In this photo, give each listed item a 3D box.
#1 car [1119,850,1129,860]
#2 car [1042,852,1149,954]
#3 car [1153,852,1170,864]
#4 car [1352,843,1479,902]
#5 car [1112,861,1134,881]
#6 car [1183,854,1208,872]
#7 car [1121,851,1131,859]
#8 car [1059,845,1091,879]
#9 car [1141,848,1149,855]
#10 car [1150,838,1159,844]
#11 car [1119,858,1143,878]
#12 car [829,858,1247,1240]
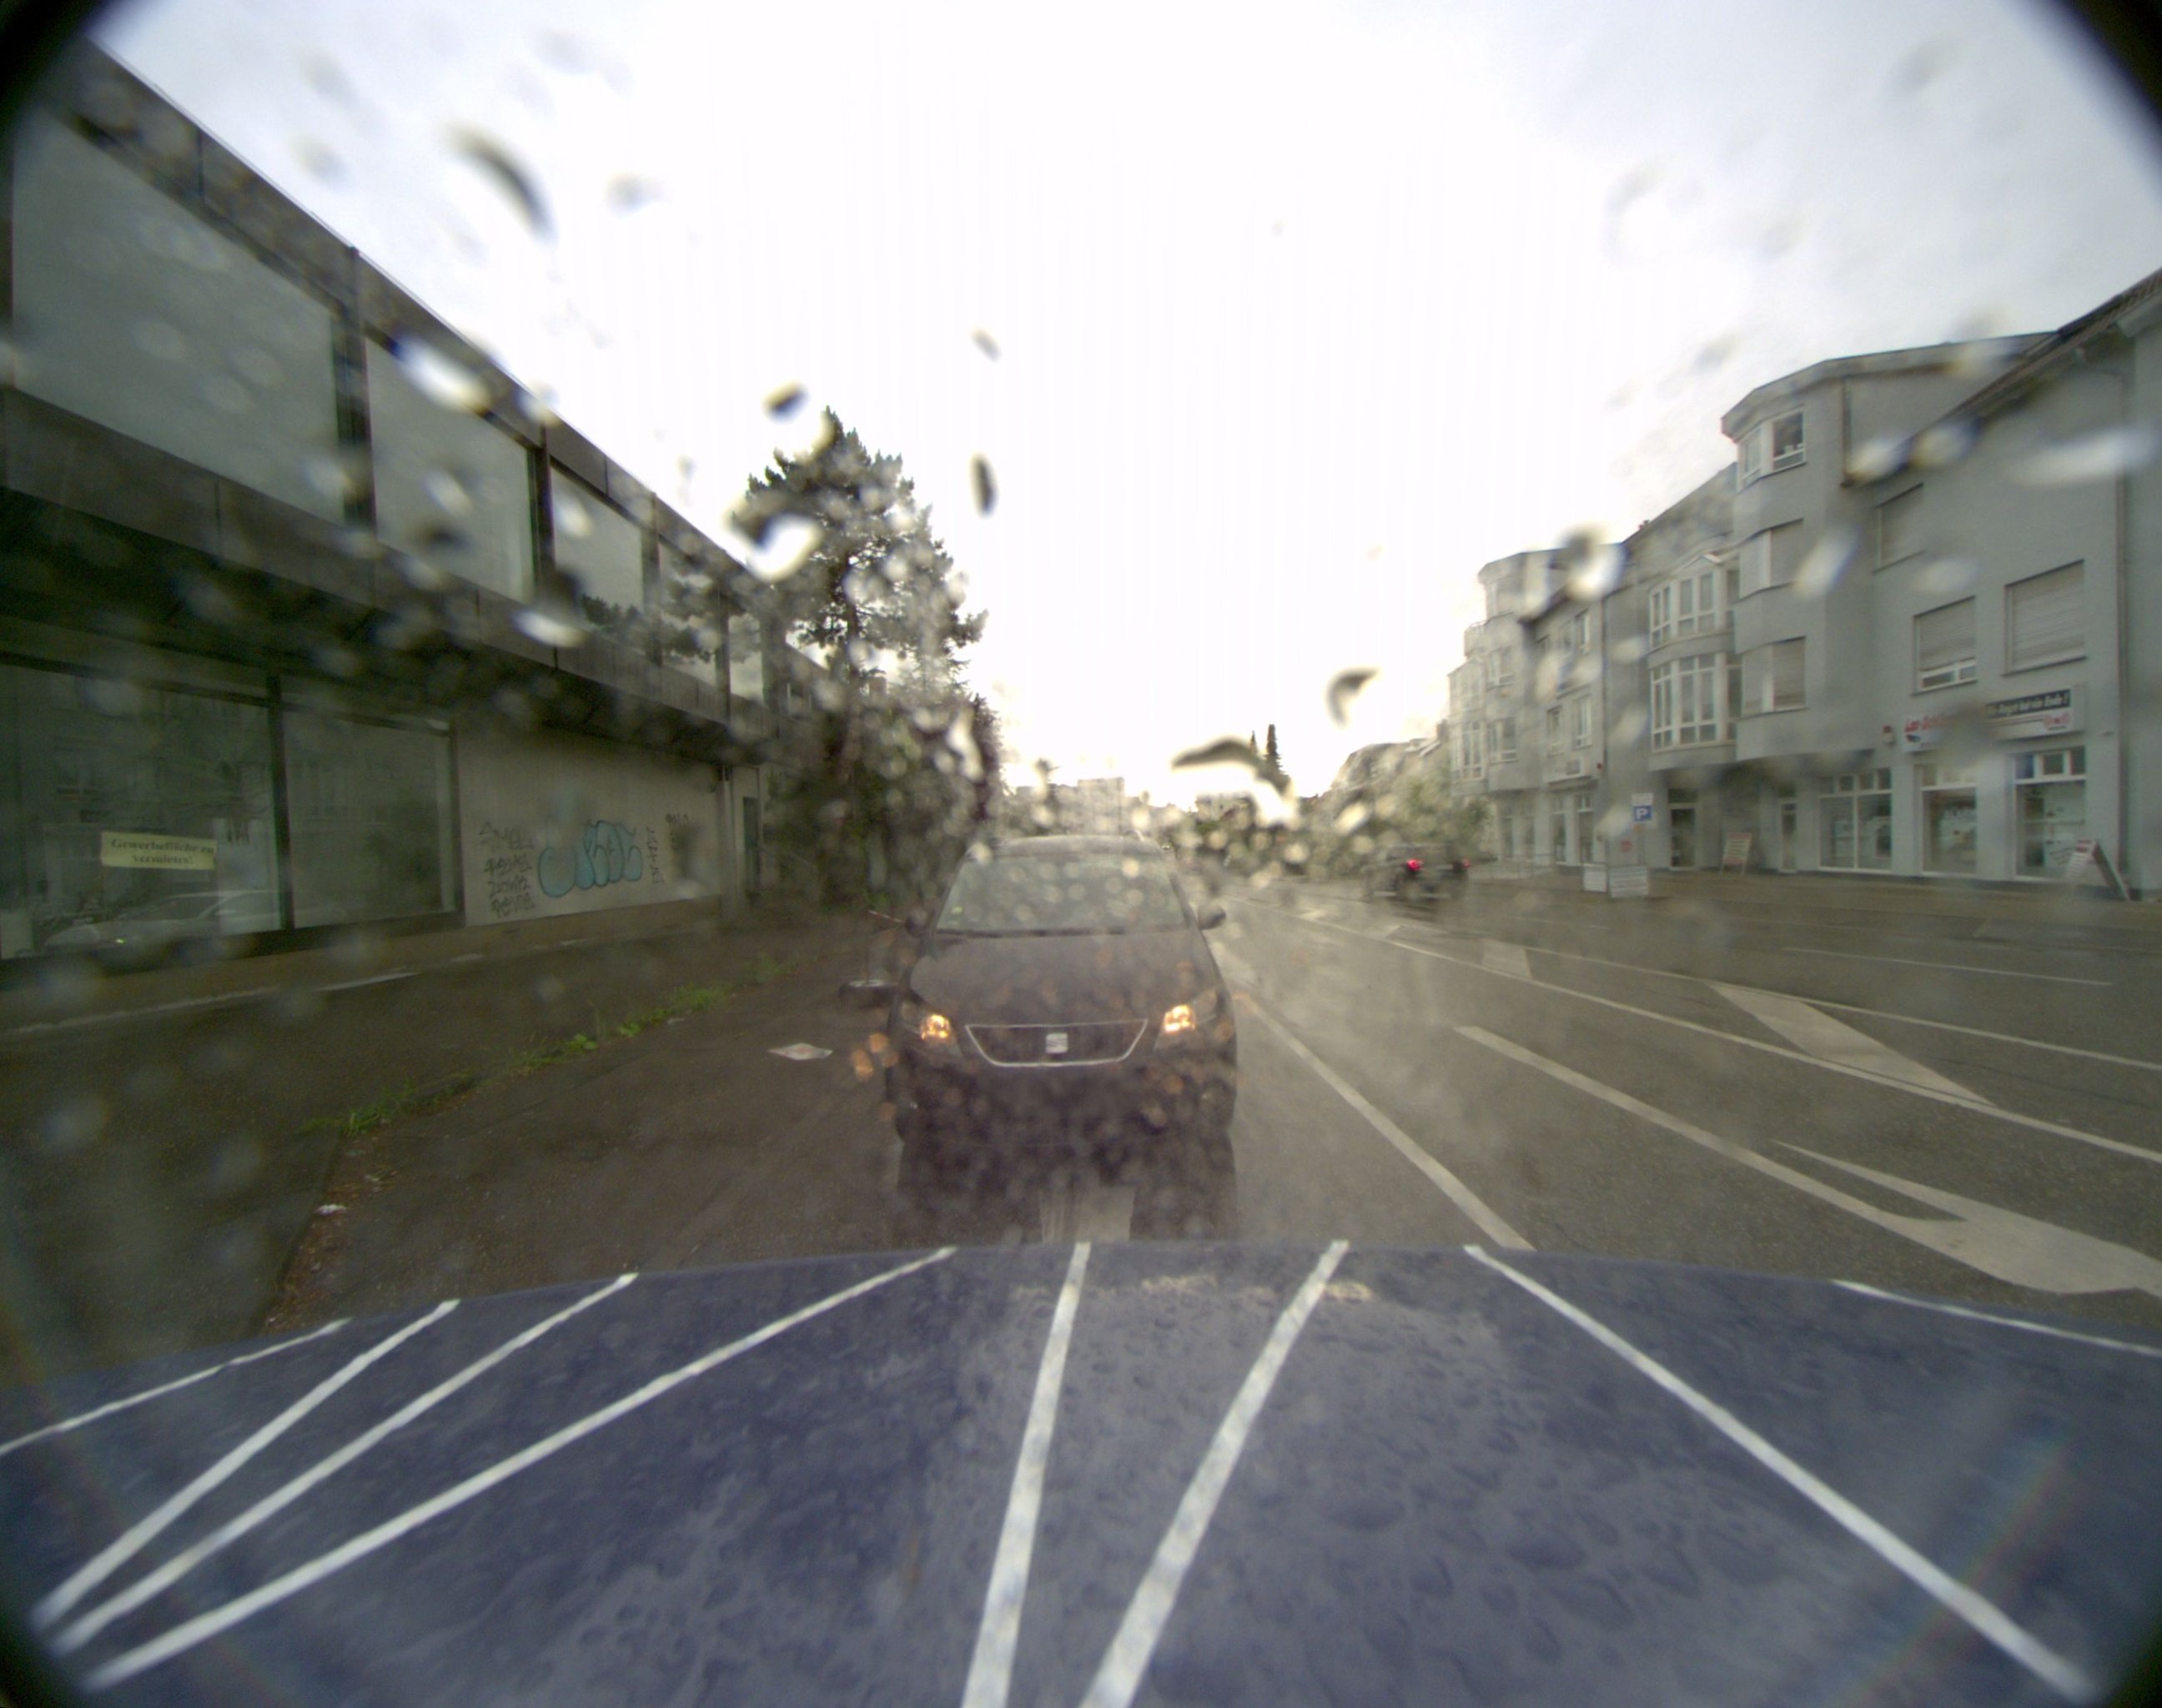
[{"bbox_3d":[9.446,0.220,166.572,1.998,2.002,3.999,-2,1,1],"label":"car"},{"bbox_3d":[0.277,0.844,15.189,1.803,1.675,3.999,-2,1,1],"label":"car"},{"bbox_3d":[11.496,0.536,108.529,1.998,1.615,4.539,-2,0,1],"label":"car"},{"bbox_3d":[9.899,0.513,22.862,1.884,1.588,4.184,-1,0,-1],"label":"car"},{"bbox_3d":[3.460,1.405,63.245,1.663,1.584,3.592,-2,0,0],"label":"car"},{"bbox_3d":[10.572,0.781,70.525,1.971,1.503,4.001,-2,1,4],"label":"car"},{"bbox_3d":[10.837,0.136,183.232,1.998,1.808,3.999,-2,1,1],"label":"car"},{"bbox_3d":[-0.356,0.478,50.405,1.998,2.072,3.999,-2,1,1],"label":"car"},{"bbox_3d":[17.693,-0.668,209.592,1.748,1.664,3.591,-2,1,1],"label":"car"},{"bbox_3d":[23.462,-4.121,242.599,1.996,1.808,4.003,-2,1,14],"label":"car"},{"bbox_3d":[4.843,1.331,74.103,1.998,1.723,3.999,-2,1,1],"label":"car"},{"bbox_3d":[-0.149,0.849,5.585,1.754,1.534,4.676,-1,1,1],"label":"car"}]
